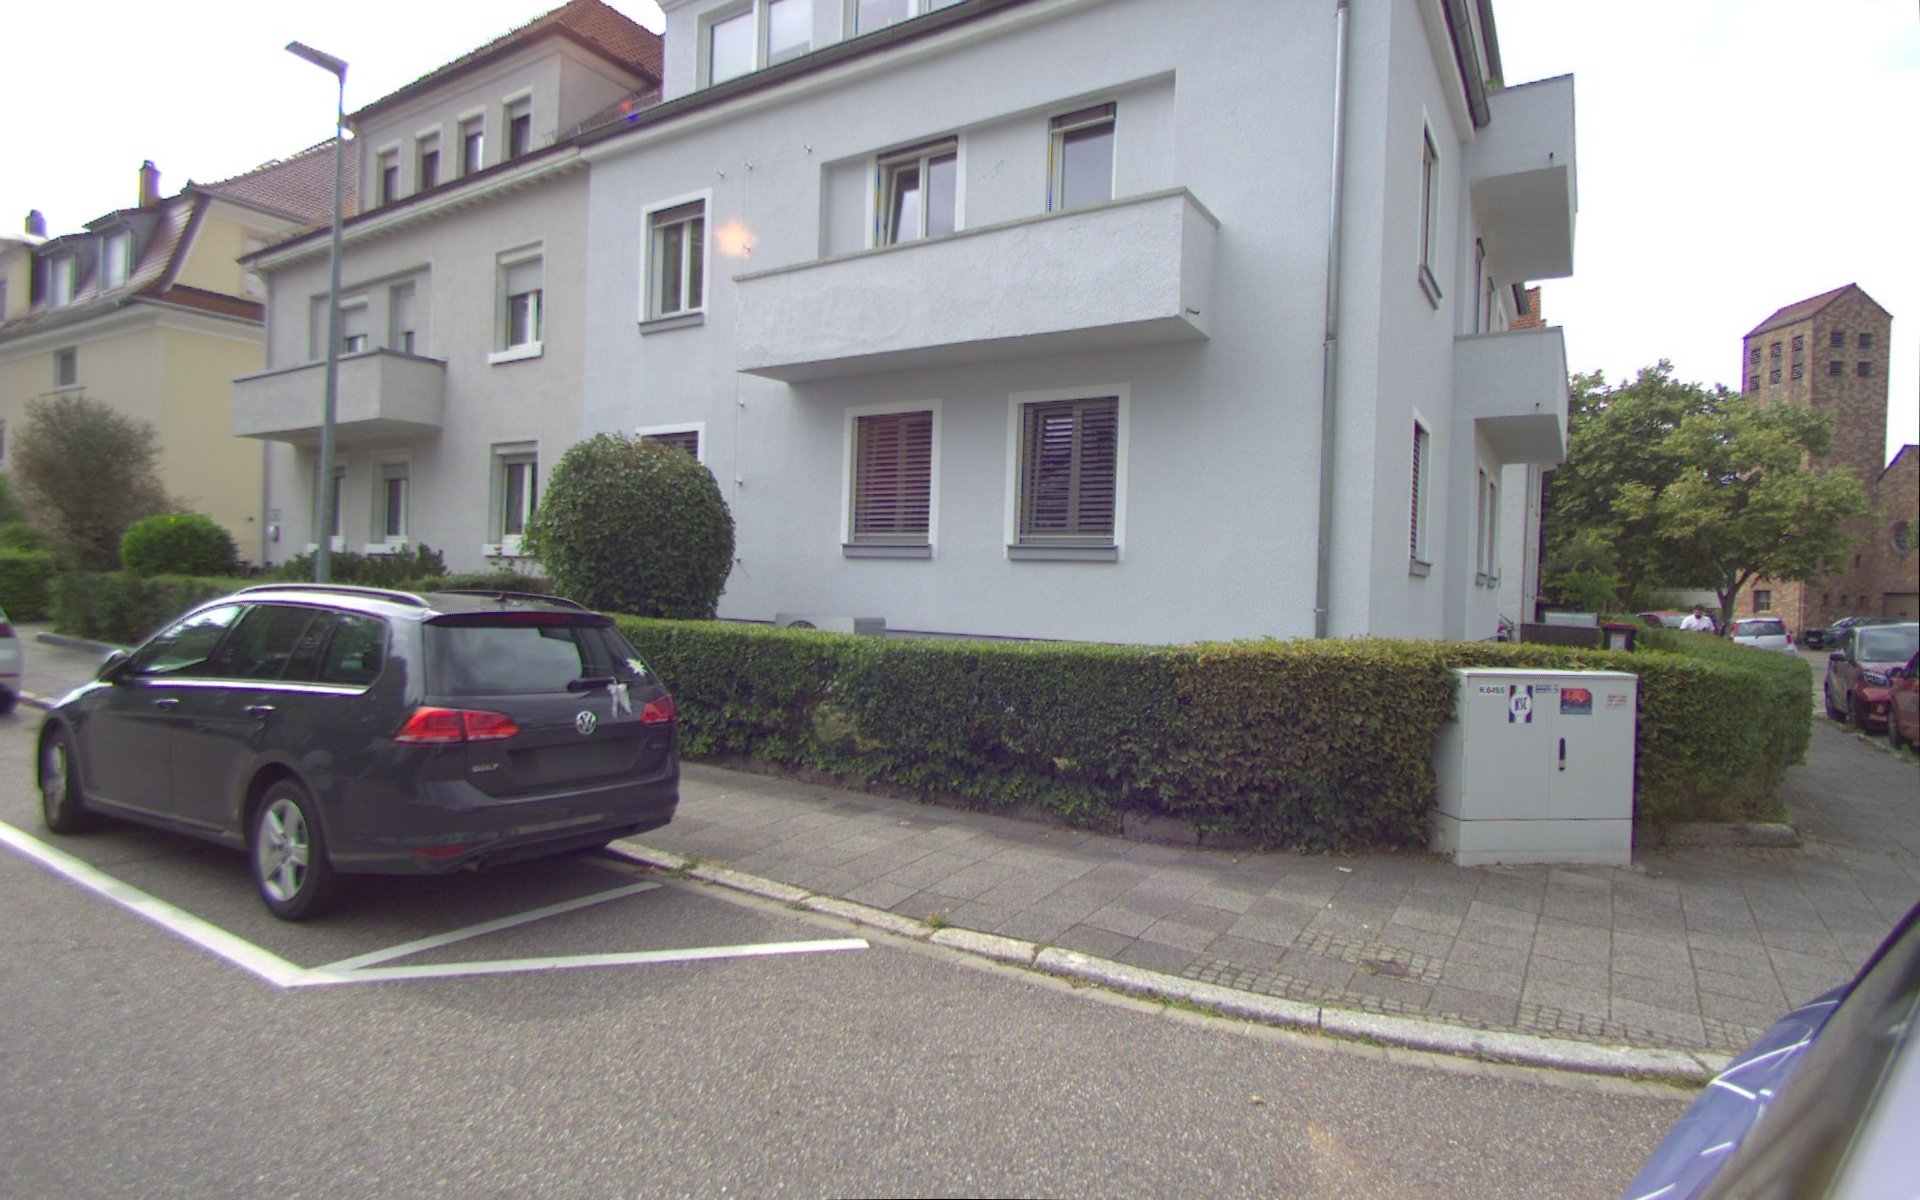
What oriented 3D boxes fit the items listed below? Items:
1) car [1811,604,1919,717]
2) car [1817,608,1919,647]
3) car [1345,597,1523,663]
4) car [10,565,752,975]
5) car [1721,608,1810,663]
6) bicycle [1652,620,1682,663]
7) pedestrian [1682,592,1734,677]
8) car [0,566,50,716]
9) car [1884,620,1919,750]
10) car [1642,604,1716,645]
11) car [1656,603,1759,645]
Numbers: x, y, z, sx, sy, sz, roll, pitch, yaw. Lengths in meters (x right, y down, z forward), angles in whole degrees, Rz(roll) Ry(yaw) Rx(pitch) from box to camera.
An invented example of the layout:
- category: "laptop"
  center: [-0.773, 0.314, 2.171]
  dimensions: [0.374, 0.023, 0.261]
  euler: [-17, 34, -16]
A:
- category: "car"
  center: [14.137, 0.831, 15.116]
  dimensions: [1.638, 1.515, 3.441]
  euler: [-2, -1, 32]
- category: "car"
  center: [40.731, 1.225, 44.637]
  dimensions: [4.198, 1.482, 1.665]
  euler: [3, 3, 33]
- category: "car"
  center: [12.489, 0.739, 26.719]
  dimensions: [3.973, 1.482, 1.975]
  euler: [2, 1, 34]
- category: "car"
  center: [-3.379, 0.616, 5.740]
  dimensions: [4.141, 1.490, 1.840]
  euler: [2, 1, 30]
- category: "car"
  center: [24.087, 1.022, 30.370]
  dimensions: [1.638, 1.515, 3.441]
  euler: [-2, -1, 32]
- category: "bicycle"
  center: [20.151, 1.164, 28.871]
  dimensions: [0.419, 1.117, 2.094]
  euler: [2, 1, 28]
- category: "pedestrian"
  center: [17.571, 0.782, 23.794]
  dimensions: [0.878, 1.902, 1.066]
  euler: [2, 1, 33]
- category: "car"
  center: [-11.662, 0.343, 10.927]
  dimensions: [4.148, 1.490, 1.836]
  euler: [3, 1, 35]
- category: "car"
  center: [11.968, 1.006, 11.406]
  dimensions: [1.638, 1.515, 3.441]
  euler: [-2, -1, 32]
- category: "car"
  center: [27.762, 0.934, 39.182]
  dimensions: [1.633, 1.515, 3.452]
  euler: [-1, -1, 24]
- category: "car"
  center: [31.930, 0.980, 43.378]
  dimensions: [1.825, 1.499, 4.031]
  euler: [4, 2, 9]
